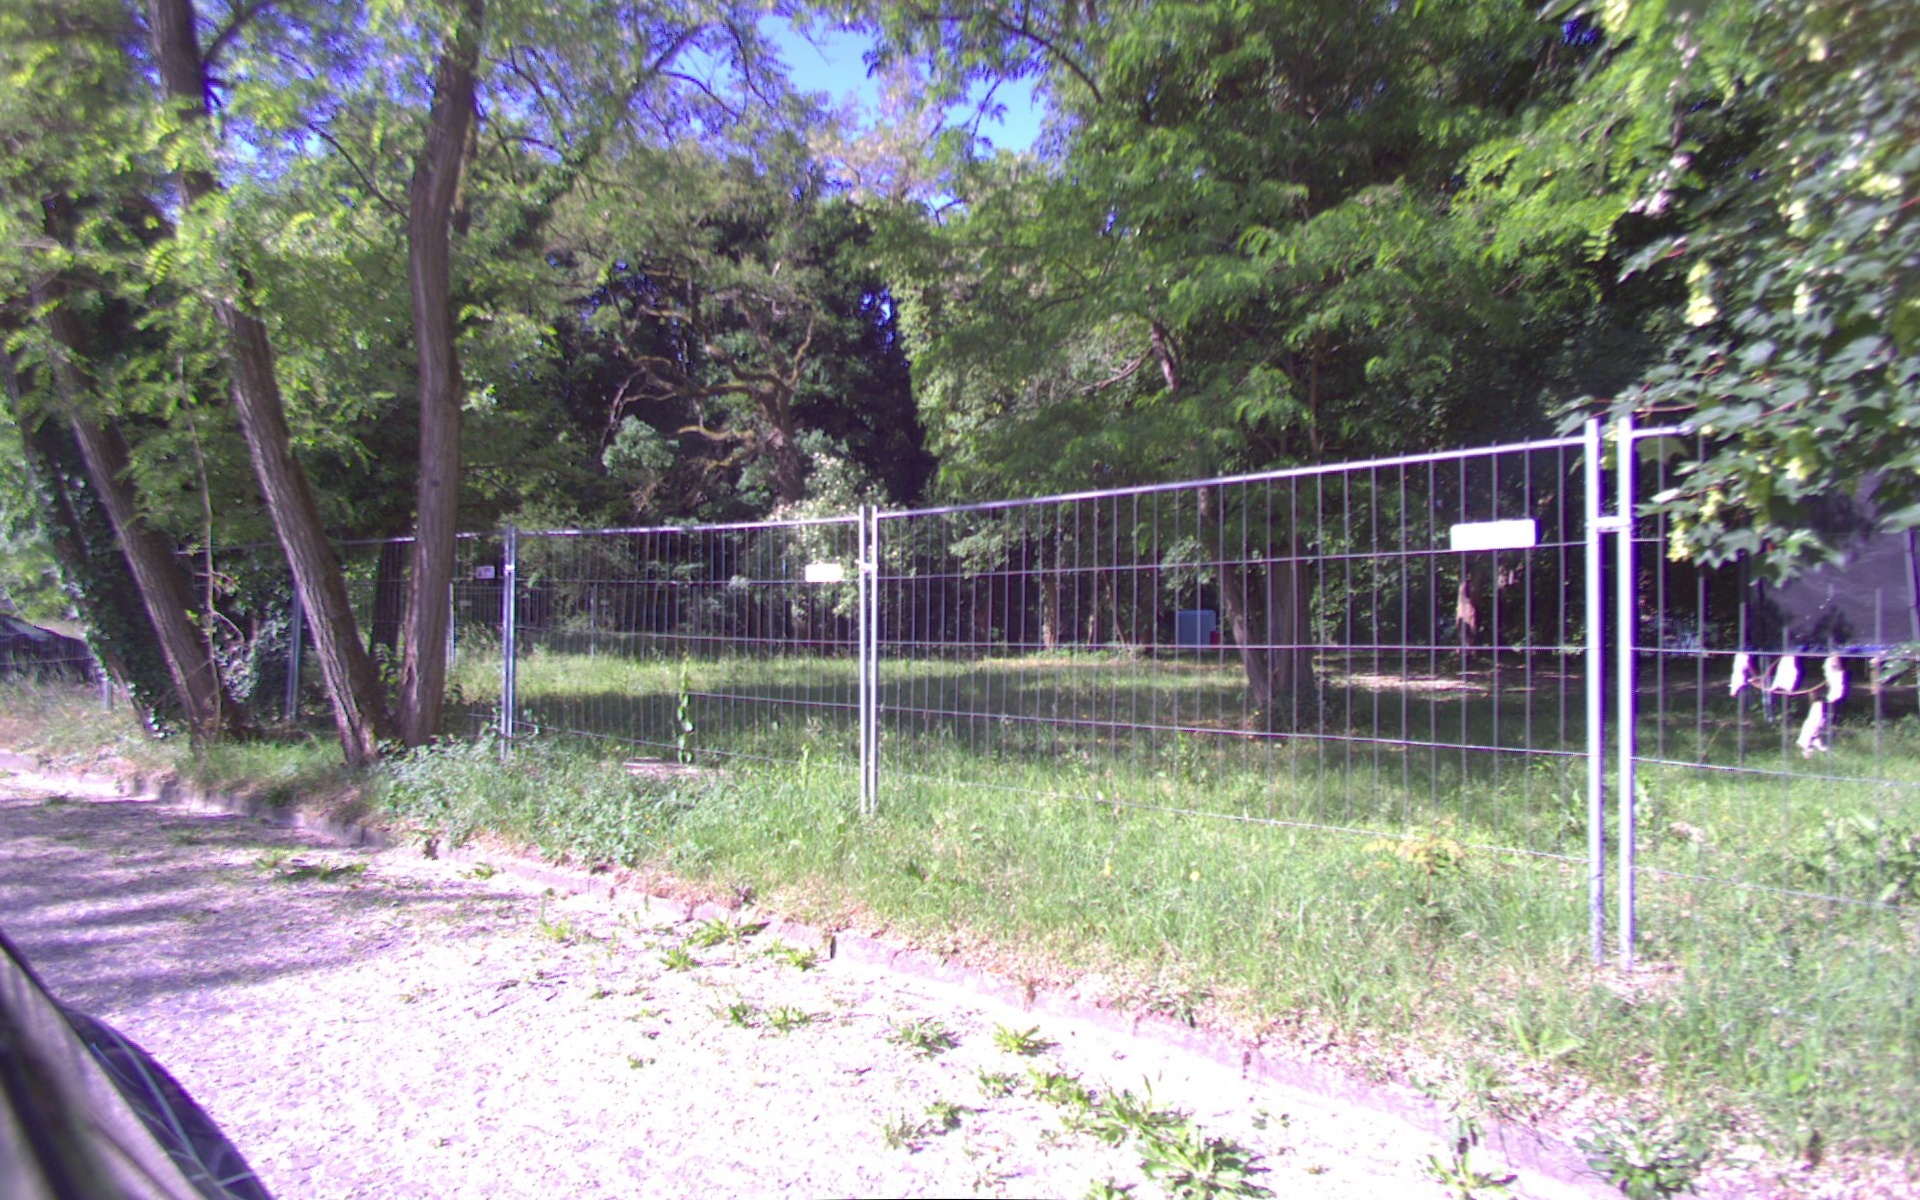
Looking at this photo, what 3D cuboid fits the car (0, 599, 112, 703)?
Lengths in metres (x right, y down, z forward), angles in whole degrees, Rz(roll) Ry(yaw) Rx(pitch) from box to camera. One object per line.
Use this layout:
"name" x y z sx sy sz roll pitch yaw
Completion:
"car" -16.567 0.909 16.156 1.817 1.601 4.242 -1 2 22

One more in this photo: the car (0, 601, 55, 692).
"car" -18.941 0.914 17.691 1.868 1.643 4.241 0 2 23
